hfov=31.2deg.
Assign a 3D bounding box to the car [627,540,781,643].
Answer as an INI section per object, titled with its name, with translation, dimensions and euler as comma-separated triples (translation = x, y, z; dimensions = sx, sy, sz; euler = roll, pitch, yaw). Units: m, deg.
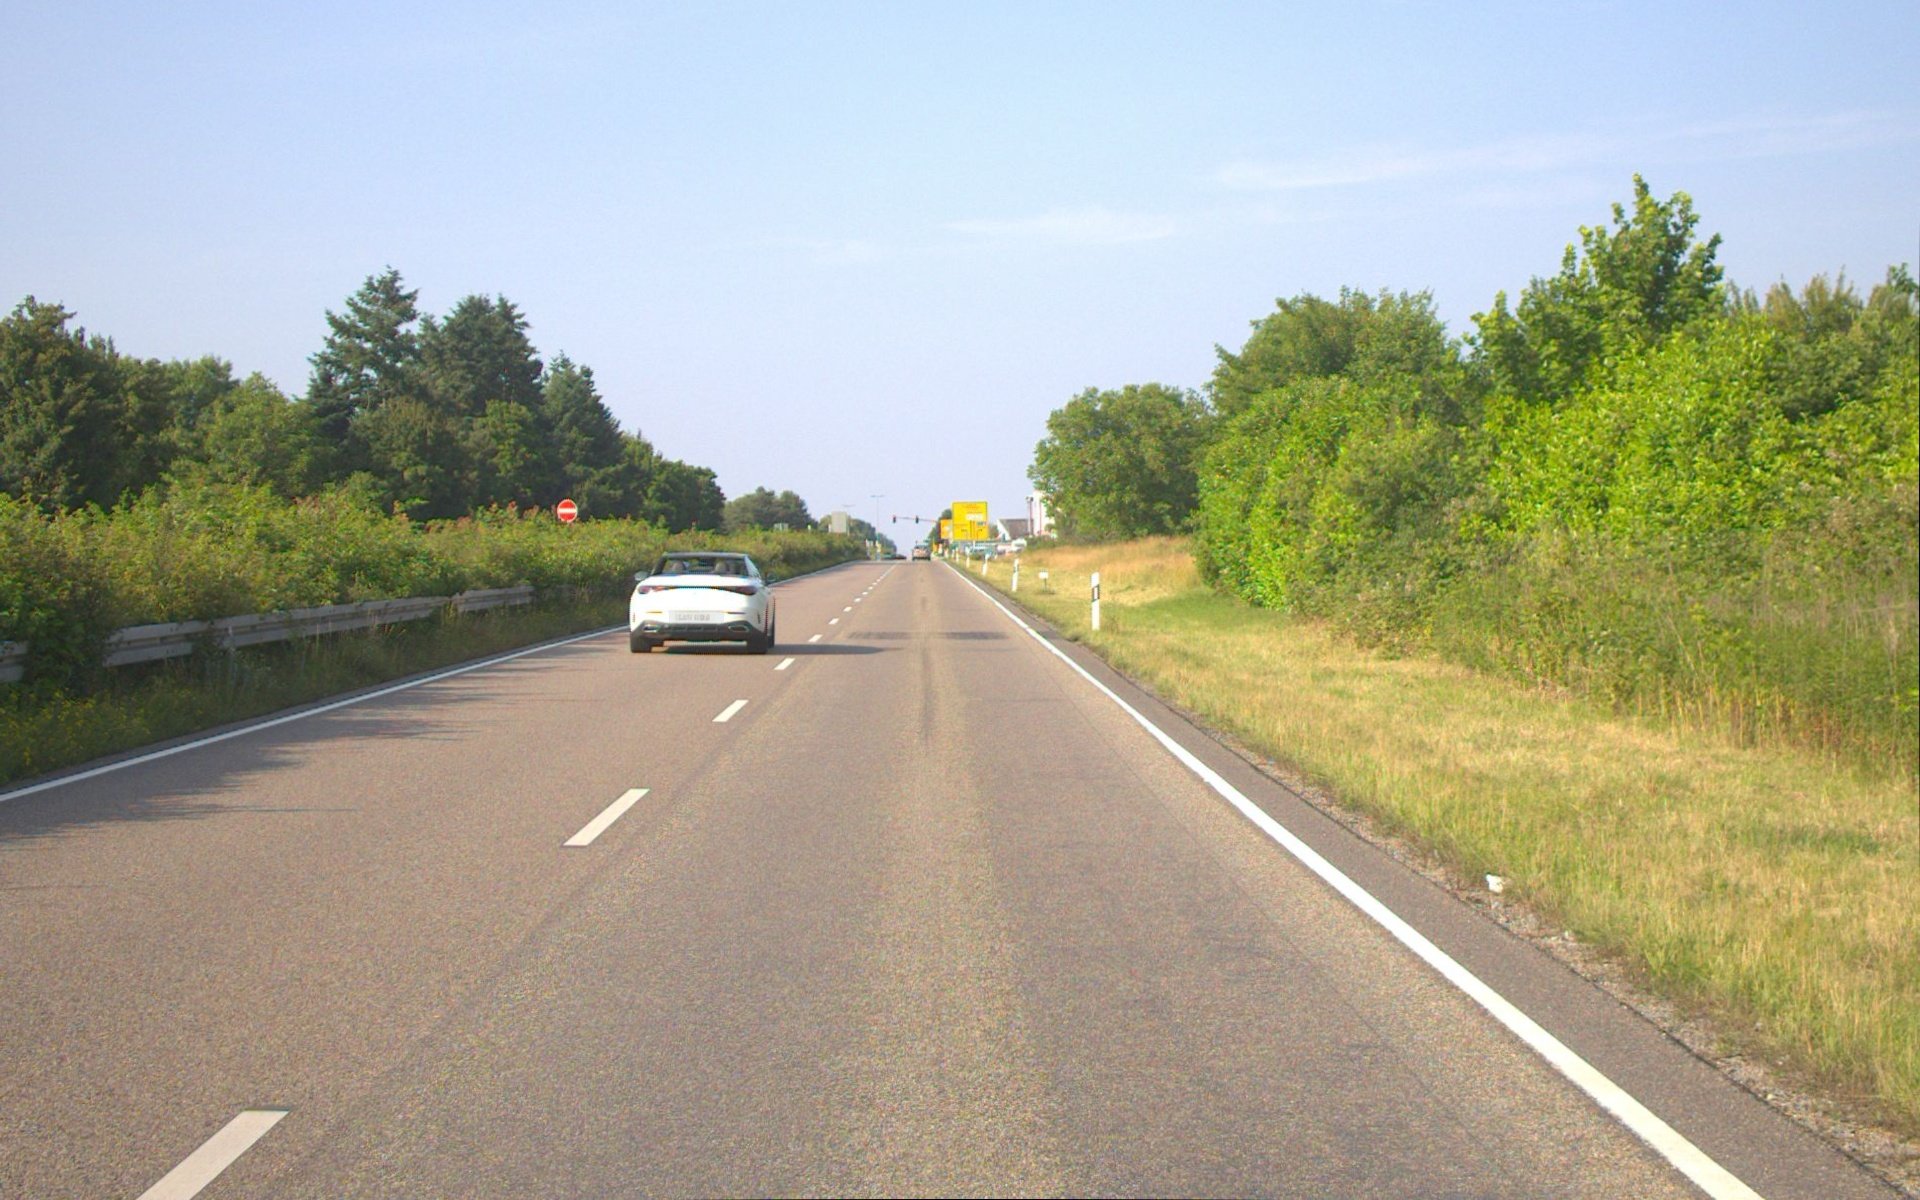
[car]
translation = -3.508, -0.140, 47.927
dimensions = 1.771, 1.333, 4.950
euler = 1, 1, 0
